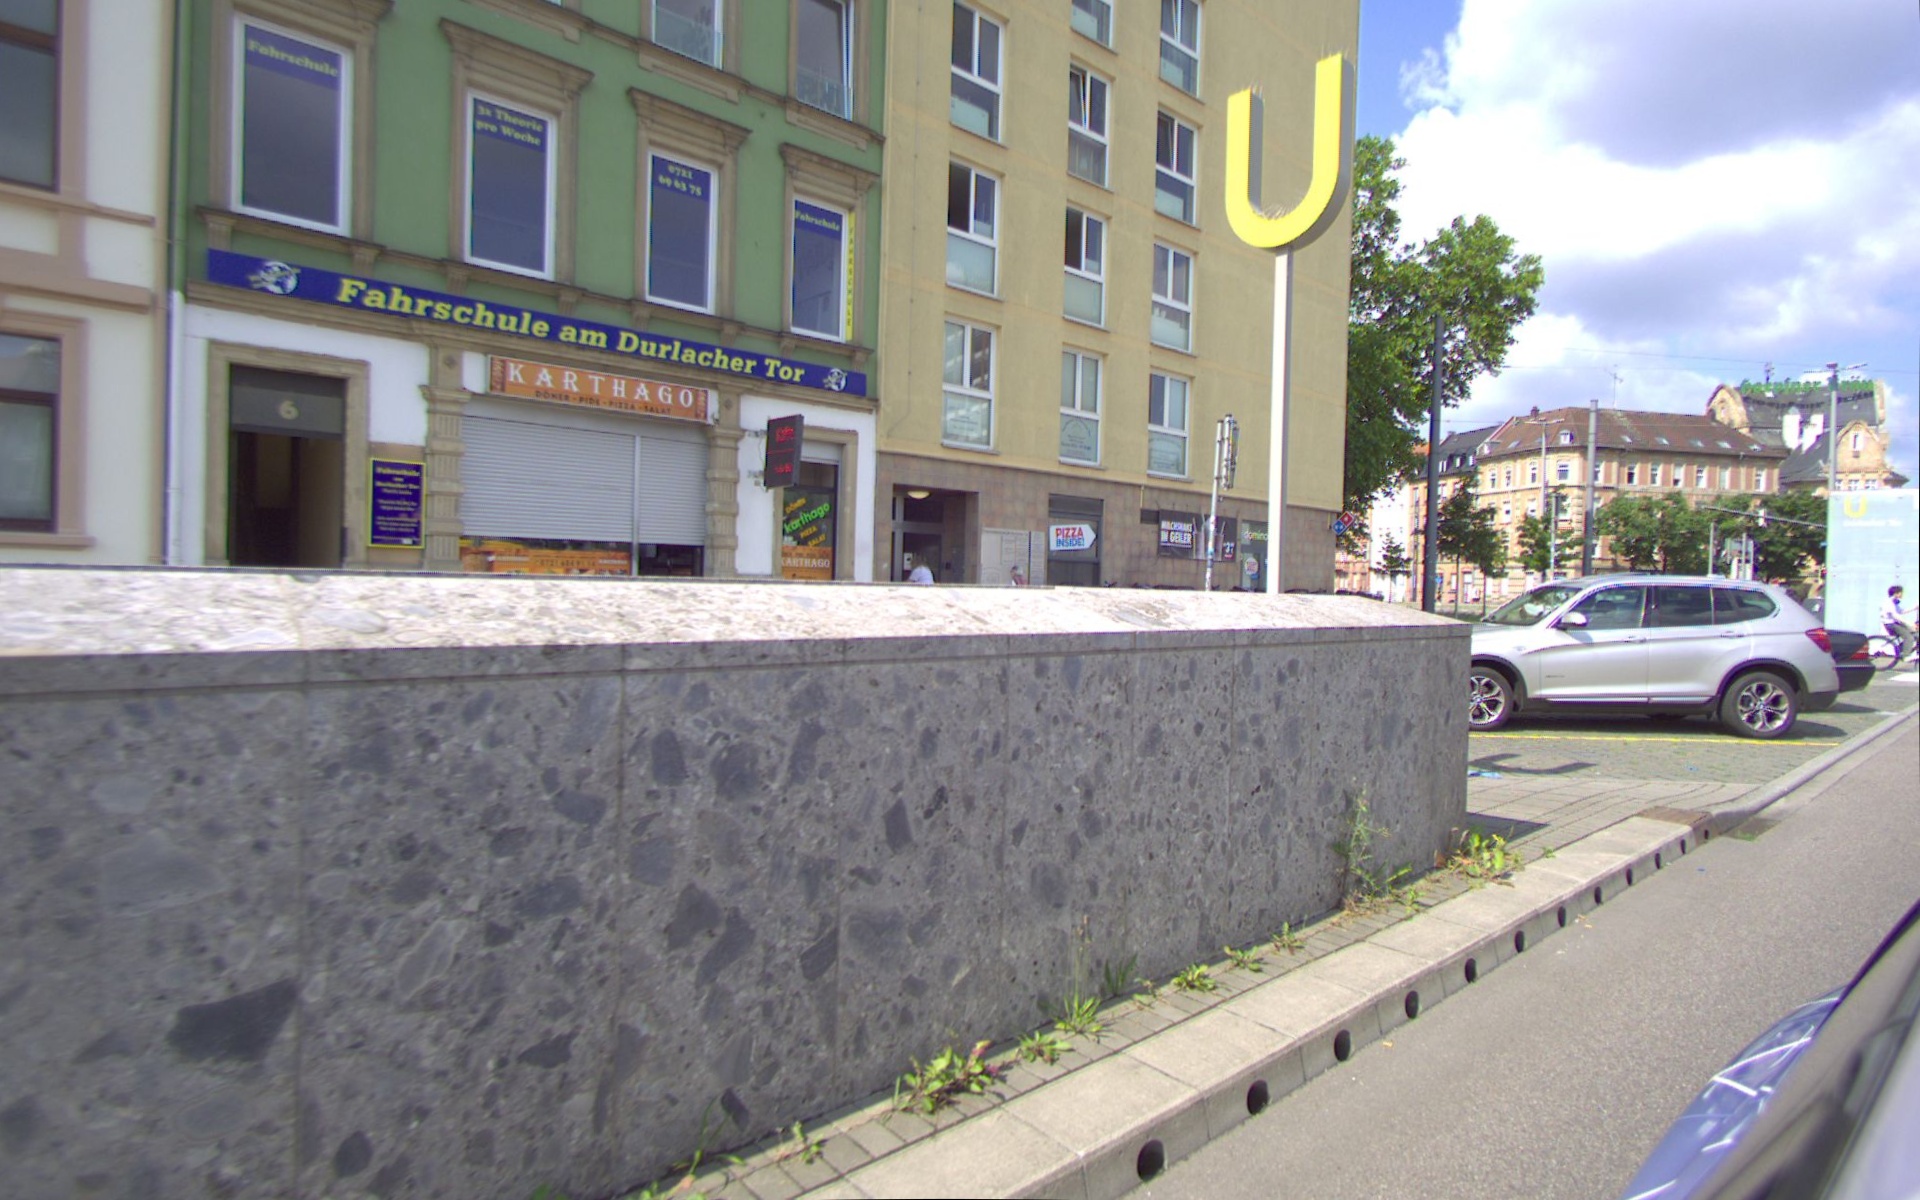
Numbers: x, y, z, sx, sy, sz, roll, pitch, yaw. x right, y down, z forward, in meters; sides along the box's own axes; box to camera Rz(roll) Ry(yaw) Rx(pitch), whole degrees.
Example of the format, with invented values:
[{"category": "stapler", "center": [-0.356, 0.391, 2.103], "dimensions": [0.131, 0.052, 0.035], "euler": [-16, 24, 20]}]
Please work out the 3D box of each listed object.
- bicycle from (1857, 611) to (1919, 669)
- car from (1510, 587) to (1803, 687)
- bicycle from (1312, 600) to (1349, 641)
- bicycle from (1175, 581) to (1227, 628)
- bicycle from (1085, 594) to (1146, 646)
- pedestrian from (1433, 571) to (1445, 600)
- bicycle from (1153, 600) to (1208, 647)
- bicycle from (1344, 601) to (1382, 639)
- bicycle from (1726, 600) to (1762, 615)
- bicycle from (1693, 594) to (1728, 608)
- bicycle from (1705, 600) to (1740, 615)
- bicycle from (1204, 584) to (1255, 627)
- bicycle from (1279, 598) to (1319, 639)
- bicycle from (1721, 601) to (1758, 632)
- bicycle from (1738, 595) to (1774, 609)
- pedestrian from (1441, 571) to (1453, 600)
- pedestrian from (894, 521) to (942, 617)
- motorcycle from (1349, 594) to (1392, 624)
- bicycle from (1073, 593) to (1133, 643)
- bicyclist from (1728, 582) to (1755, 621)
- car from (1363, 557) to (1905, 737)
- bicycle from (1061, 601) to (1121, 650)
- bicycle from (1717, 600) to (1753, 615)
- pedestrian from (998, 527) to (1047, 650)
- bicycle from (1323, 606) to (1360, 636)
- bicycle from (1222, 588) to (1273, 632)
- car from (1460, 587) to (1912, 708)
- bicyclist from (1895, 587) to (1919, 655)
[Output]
[{"category": "bicycle", "center": [19.458, 0.826, 20.319], "dimensions": [0.533, 1.120, 2.104], "euler": [3, 0, -26]}, {"category": "car", "center": [11.095, 0.539, 16.362], "dimensions": [3.439, 1.471, 1.775], "euler": [1, 1, 9]}, {"category": "bicycle", "center": [8.844, 0.485, 24.153], "dimensions": [0.292, 0.934, 1.588], "euler": [2, 0, 39]}, {"category": "bicycle", "center": [5.004, 0.100, 20.982], "dimensions": [1.439, 0.934, 0.292], "euler": [2, 0, -44]}, {"category": "bicycle", "center": [2.931, 0.383, 19.005], "dimensions": [1.439, 0.934, 0.292], "euler": [1, 0, -44]}, {"category": "pedestrian", "center": [52.086, -1.542, 110.063], "dimensions": [0.655, 3.160, 0.888], "euler": [3, -1, 0]}, {"category": "bicycle", "center": [4.657, 0.502, 21.341], "dimensions": [1.438, 0.934, 0.293], "euler": [3, -1, -41]}, {"category": "bicycle", "center": [10.107, 0.494, 25.376], "dimensions": [1.440, 0.894, 0.292], "euler": [-1, 2, -44]}, {"category": "bicycle", "center": [67.498, 0.599, 87.196], "dimensions": [0.746, 1.180, 2.689], "euler": [1, 1, -7]}, {"category": "bicycle", "center": [64.334, 0.078, 86.776], "dimensions": [0.746, 1.180, 2.689], "euler": [1, 1, -7]}, {"category": "bicycle", "center": [65.424, 0.655, 86.855], "dimensions": [0.746, 1.180, 2.688], "euler": [3, 0, -7]}, {"category": "bicycle", "center": [5.979, 0.125, 22.422], "dimensions": [1.438, 0.934, 0.293], "euler": [1, 1, -41]}, {"category": "bicycle", "center": [8.152, 0.438, 24.319], "dimensions": [0.292, 0.934, 1.429], "euler": [2, 1, 44]}, {"category": "bicycle", "center": [29.795, 0.615, 38.655], "dimensions": [2.291, 1.134, 0.663], "euler": [0, 2, -41]}, {"category": "bicycle", "center": [68.637, 0.164, 87.315], "dimensions": [0.746, 1.180, 2.689], "euler": [1, 1, -7]}, {"category": "pedestrian", "center": [52.927, -1.525, 110.042], "dimensions": [0.713, 3.115, 0.887], "euler": [3, -1, 0]}, {"category": "pedestrian", "center": [-0.751, -0.556, 17.872], "dimensions": [0.452, 1.638, 0.603], "euler": [3, 2, -40]}, {"category": "motorcycle", "center": [14.920, 0.310, 36.853], "dimensions": [0.959, 1.043, 2.288], "euler": [0, 1, 10]}, {"category": "bicycle", "center": [2.761, 0.353, 19.461], "dimensions": [1.439, 0.934, 0.292], "euler": [2, 0, -44]}, {"category": "bicyclist", "center": [29.889, 0.060, 38.718], "dimensions": [0.730, 1.455, 0.655], "euler": [1, 1, -41]}, {"category": "car", "center": [7.187, 0.428, 11.324], "dimensions": [4.518, 1.667, 2.058], "euler": [2, 1, 7]}, {"category": "bicycle", "center": [2.569, 0.494, 19.722], "dimensions": [1.439, 0.934, 0.292], "euler": [1, 0, -44]}, {"category": "bicycle", "center": [66.532, 0.647, 86.945], "dimensions": [0.746, 1.180, 2.689], "euler": [1, 1, -7]}, {"category": "pedestrian", "center": [1.058, -0.187, 17.180], "dimensions": [0.452, 2.039, 0.603], "euler": [3, -1, -40]}, {"category": "bicycle", "center": [9.754, 0.532, 25.843], "dimensions": [1.428, 0.747, 0.292], "euler": [0, 1, -45]}, {"category": "bicycle", "center": [6.242, 0.216, 21.966], "dimensions": [1.438, 0.934, 0.293], "euler": [1, 1, -41]}, {"category": "car", "center": [9.547, 0.629, 13.745], "dimensions": [4.525, 1.479, 1.933], "euler": [-1, -1, 10]}, {"category": "bicyclist", "center": [19.452, 0.427, 20.394], "dimensions": [0.387, 1.353, 0.785], "euler": [3, -1, -26]}]
